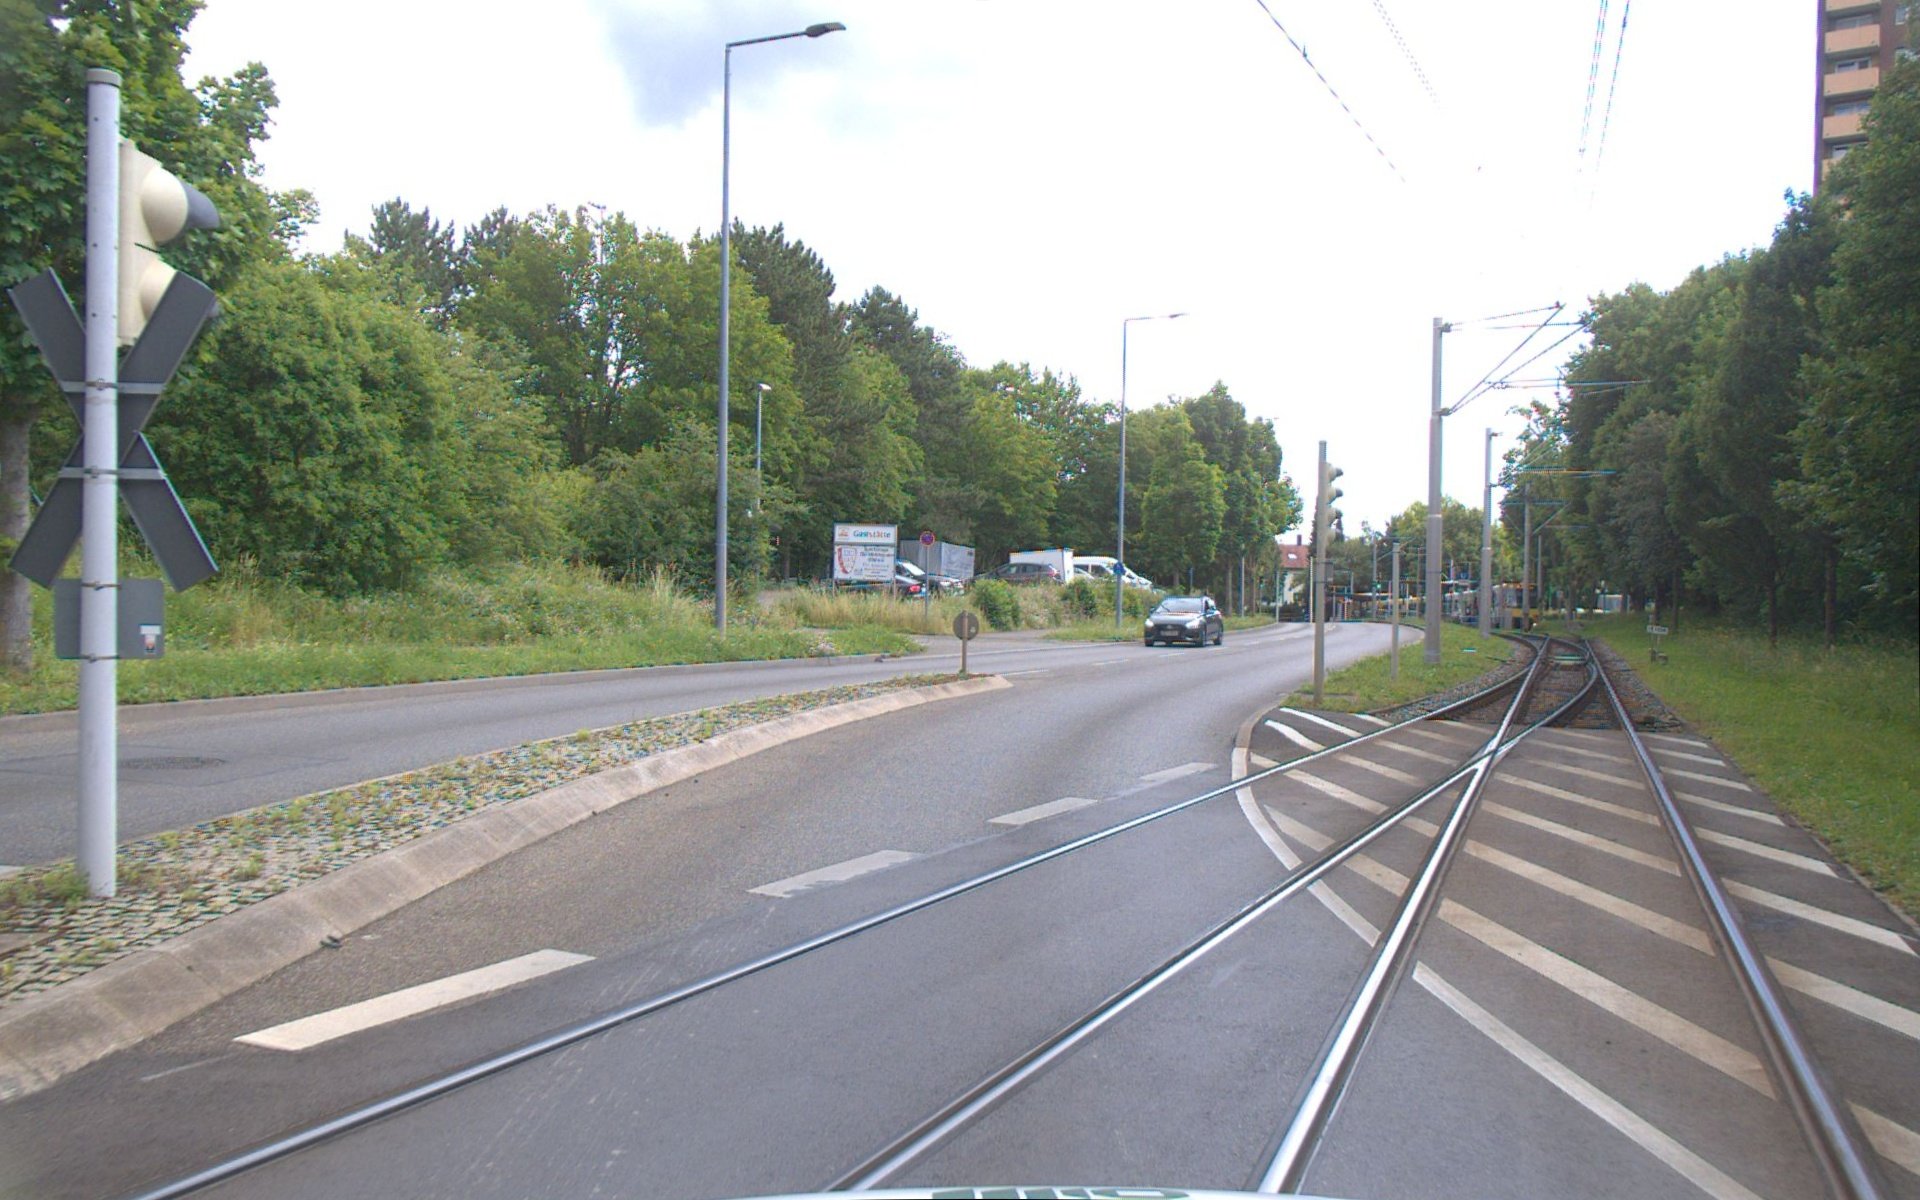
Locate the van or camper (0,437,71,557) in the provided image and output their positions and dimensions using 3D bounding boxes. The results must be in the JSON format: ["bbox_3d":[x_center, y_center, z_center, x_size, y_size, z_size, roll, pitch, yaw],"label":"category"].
[{"bbox_3d":[-16.750,-1.715,26.166,1.952,1.910,4.632,2,1,18],"label":"van or camper"}]

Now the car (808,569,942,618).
[{"bbox_3d":[-2.737,-0.216,53.430,3.870,1.421,2.002,2,1,14],"label":"car"}]

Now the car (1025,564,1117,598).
[{"bbox_3d":[5.504,-0.947,81.917,4.219,1.534,2.001,2,0,16],"label":"car"}]

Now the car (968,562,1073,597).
[{"bbox_3d":[2.578,-0.865,70.232,4.219,1.474,1.837,0,0,13],"label":"car"}]

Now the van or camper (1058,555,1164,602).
[{"bbox_3d":[7.928,-1.145,86.880,5.221,2.241,2.001,2,1,16],"label":"van or camper"}]

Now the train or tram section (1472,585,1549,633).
[{"bbox_3d":[45.481,0.635,137.758,2.944,3.368,34.738,2,0,13],"label":"train or tram section"}]

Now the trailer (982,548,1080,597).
[{"bbox_3d":[3.142,-1.210,73.249,3.904,2.049,1.908,2,1,20],"label":"trailer"}]

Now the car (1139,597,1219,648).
[{"bbox_3d":[6.601,0.636,49.543,1.951,1.463,4.429,0,0,13],"label":"car"}]

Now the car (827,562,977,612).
[{"bbox_3d":[-2.029,-0.456,58.381,4.822,1.612,2.208,2,0,16],"label":"car"}]

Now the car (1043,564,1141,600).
[{"bbox_3d":[6.759,-0.943,84.586,4.550,1.685,1.999,2,0,24],"label":"car"}]
